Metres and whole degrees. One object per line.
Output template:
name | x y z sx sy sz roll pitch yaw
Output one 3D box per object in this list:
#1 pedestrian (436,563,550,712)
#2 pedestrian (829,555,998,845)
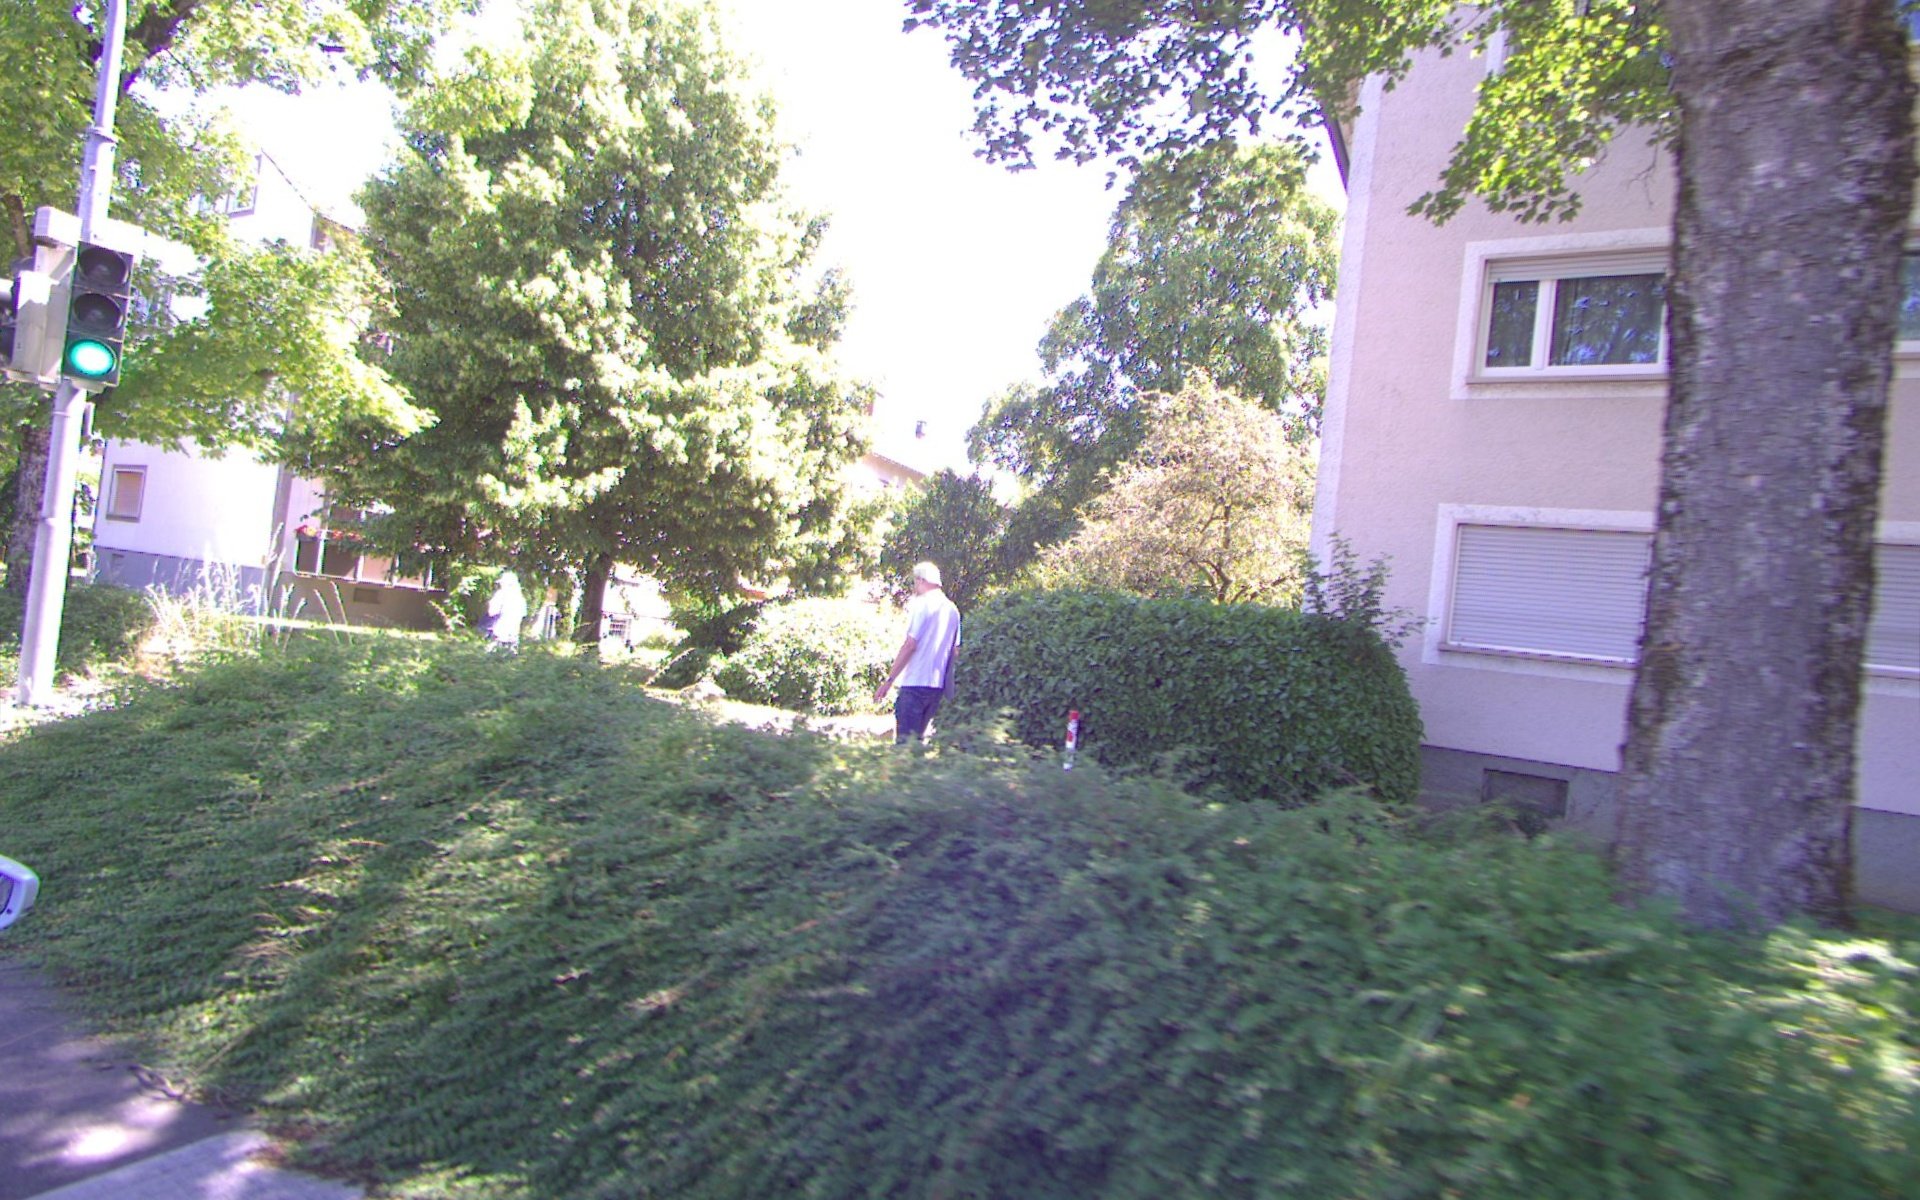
pedestrian | -5.607 0.454 12.104 0.836 1.653 0.720 6 -1 23
pedestrian | -0.313 0.696 7.267 0.885 1.895 0.675 6 -1 11
